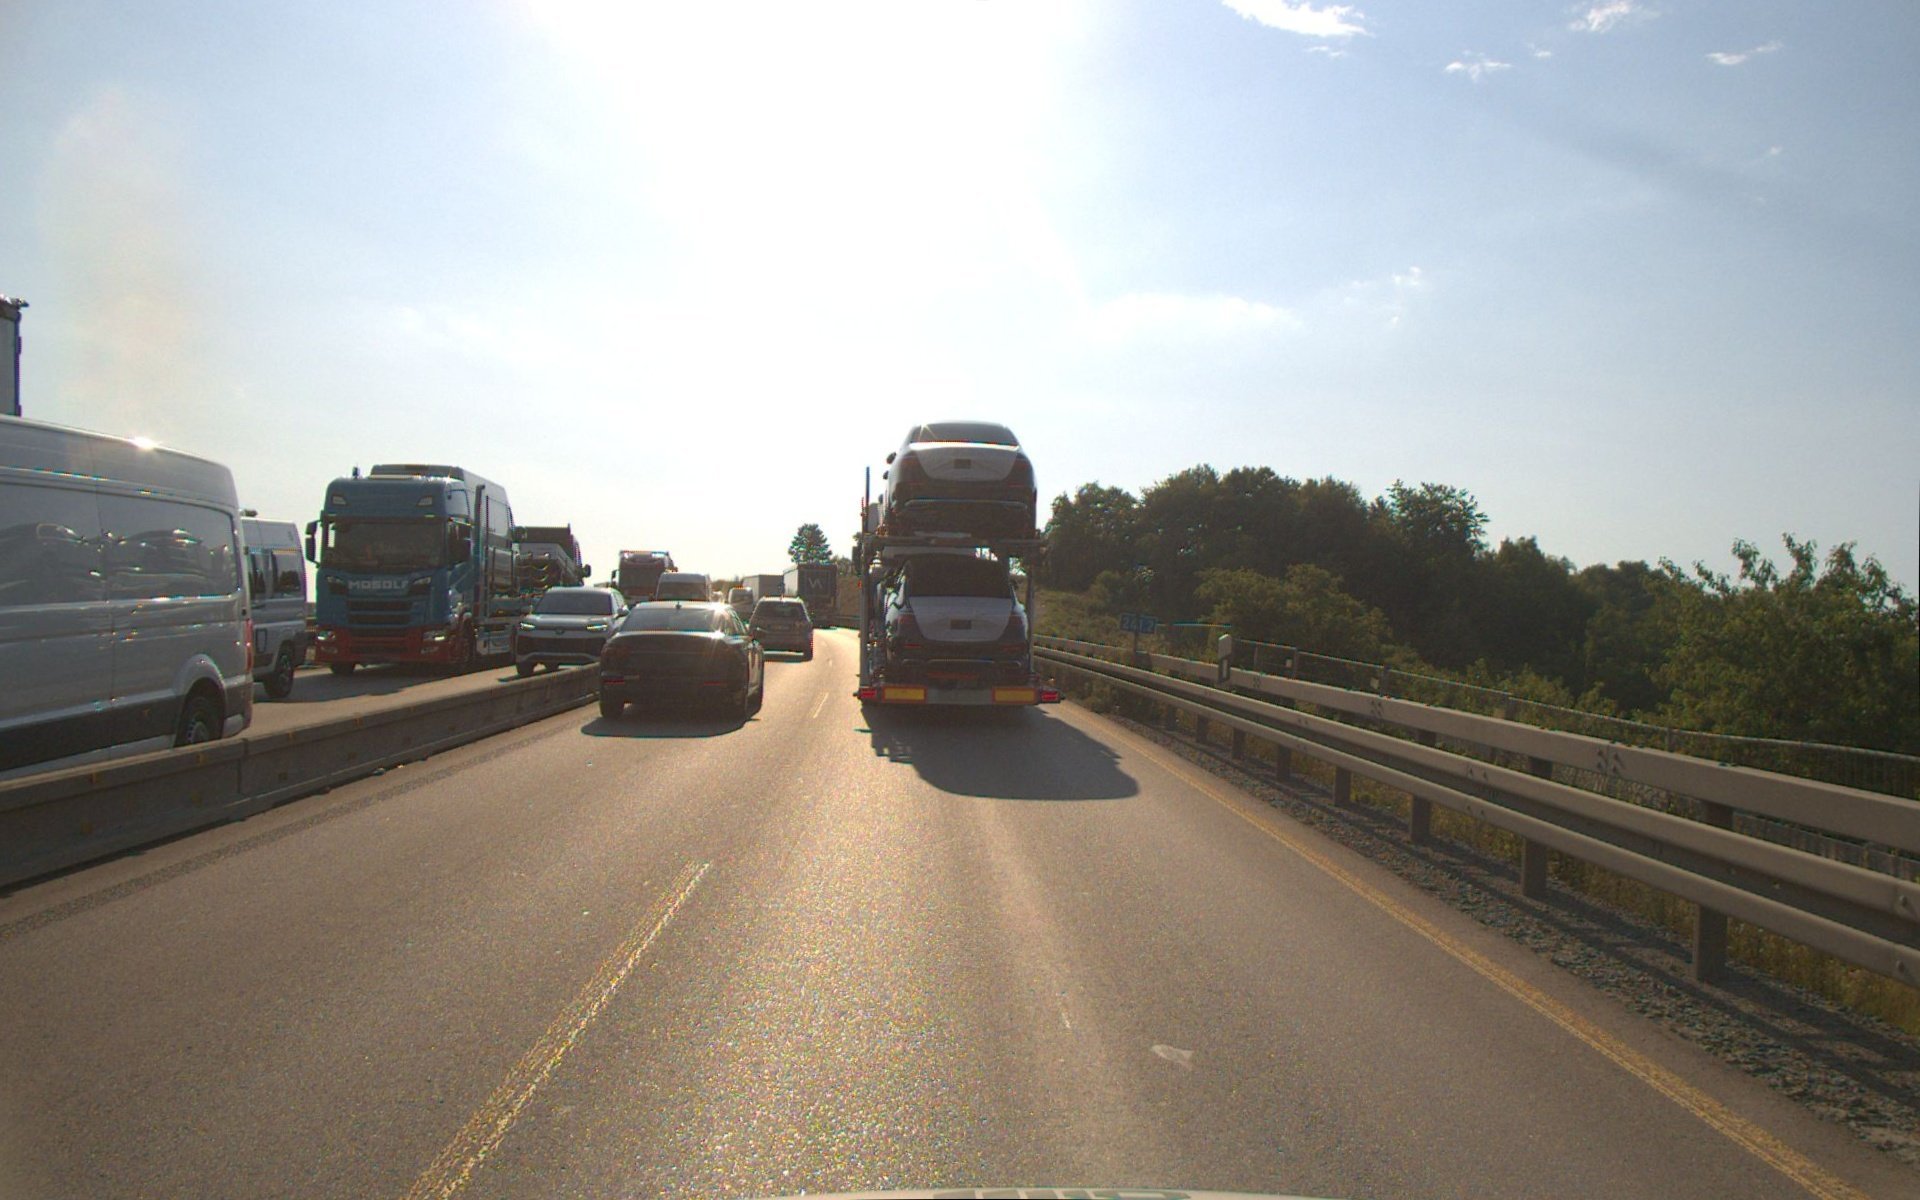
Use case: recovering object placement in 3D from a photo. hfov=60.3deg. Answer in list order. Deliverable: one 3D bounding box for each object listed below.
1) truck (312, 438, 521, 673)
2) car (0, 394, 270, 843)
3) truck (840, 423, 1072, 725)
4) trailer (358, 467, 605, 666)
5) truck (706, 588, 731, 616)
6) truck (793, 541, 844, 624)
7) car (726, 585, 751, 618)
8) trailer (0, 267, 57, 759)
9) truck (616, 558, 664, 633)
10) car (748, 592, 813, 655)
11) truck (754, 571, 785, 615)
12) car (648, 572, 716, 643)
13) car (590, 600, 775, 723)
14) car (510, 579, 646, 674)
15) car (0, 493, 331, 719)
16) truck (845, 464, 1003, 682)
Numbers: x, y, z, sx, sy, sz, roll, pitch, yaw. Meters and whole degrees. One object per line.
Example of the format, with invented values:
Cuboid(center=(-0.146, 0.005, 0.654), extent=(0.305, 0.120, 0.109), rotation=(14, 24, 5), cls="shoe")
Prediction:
Cuboid(center=(-10.393, -0.773, 32.215), extent=(2.454, 4.137, 5.879), rotation=(0, 0, -4), cls="truck")
Cuboid(center=(-6.506, 0.102, 10.231), extent=(2.016, 2.544, 6.770), rotation=(0, 0, -4), cls="car")
Cuboid(center=(-0.358, -0.286, 24.890), extent=(2.743, 3.558, 10.597), rotation=(0, 0, -3), cls="truck")
Cuboid(center=(-11.160, -0.644, 40.584), extent=(2.642, 3.941, 15.377), rotation=(0, 0, -4), cls="trailer")
Cuboid(center=(-28.270, 0.285, 193.648), extent=(2.541, 3.226, 6.668), rotation=(0, 0, -6), cls="truck")
Cuboid(center=(-9.547, -1.132, 111.324), extent=(3.222, 5.328, 9.925), rotation=(0, 0, -5), cls="truck")
Cuboid(center=(-17.469, 0.111, 130.388), extent=(1.884, 2.536, 5.399), rotation=(0, 0, -8), cls="car")
Cuboid(center=(-9.066, -0.764, 7.702), extent=(2.260, 4.203, 14.593), rotation=(0, 0, -2), cls="trailer")
Cuboid(center=(-16.698, -0.216, 86.689), extent=(2.271, 3.670, 11.941), rotation=(0, 0, -10), cls="truck")
Cuboid(center=(-4.887, 0.617, 44.725), extent=(1.660, 1.624, 3.993), rotation=(0, 0, -7), cls="car")
Cuboid(center=(-16.668, -0.561, 145.030), extent=(2.481, 3.712, 8.895), rotation=(0, 0, -5), cls="truck")
Cuboid(center=(-10.263, 0.274, 61.344), extent=(2.064, 2.526, 6.059), rotation=(0, 0, -6), cls="car")
Cuboid(center=(-3.591, 0.733, 22.229), extent=(1.896, 1.423, 4.958), rotation=(1, 0, -3), cls="car")
Cuboid(center=(-7.455, 0.496, 32.705), extent=(1.833, 1.724, 4.593), rotation=(0, 0, -3), cls="car")
Cuboid(center=(-10.323, 0.077, 21.932), extent=(2.115, 2.602, 5.584), rotation=(0, 0, -4), cls="car")
Cuboid(center=(-0.829, -0.469, 34.397), extent=(2.781, 3.858, 9.982), rotation=(0, 0, -2), cls="truck")
